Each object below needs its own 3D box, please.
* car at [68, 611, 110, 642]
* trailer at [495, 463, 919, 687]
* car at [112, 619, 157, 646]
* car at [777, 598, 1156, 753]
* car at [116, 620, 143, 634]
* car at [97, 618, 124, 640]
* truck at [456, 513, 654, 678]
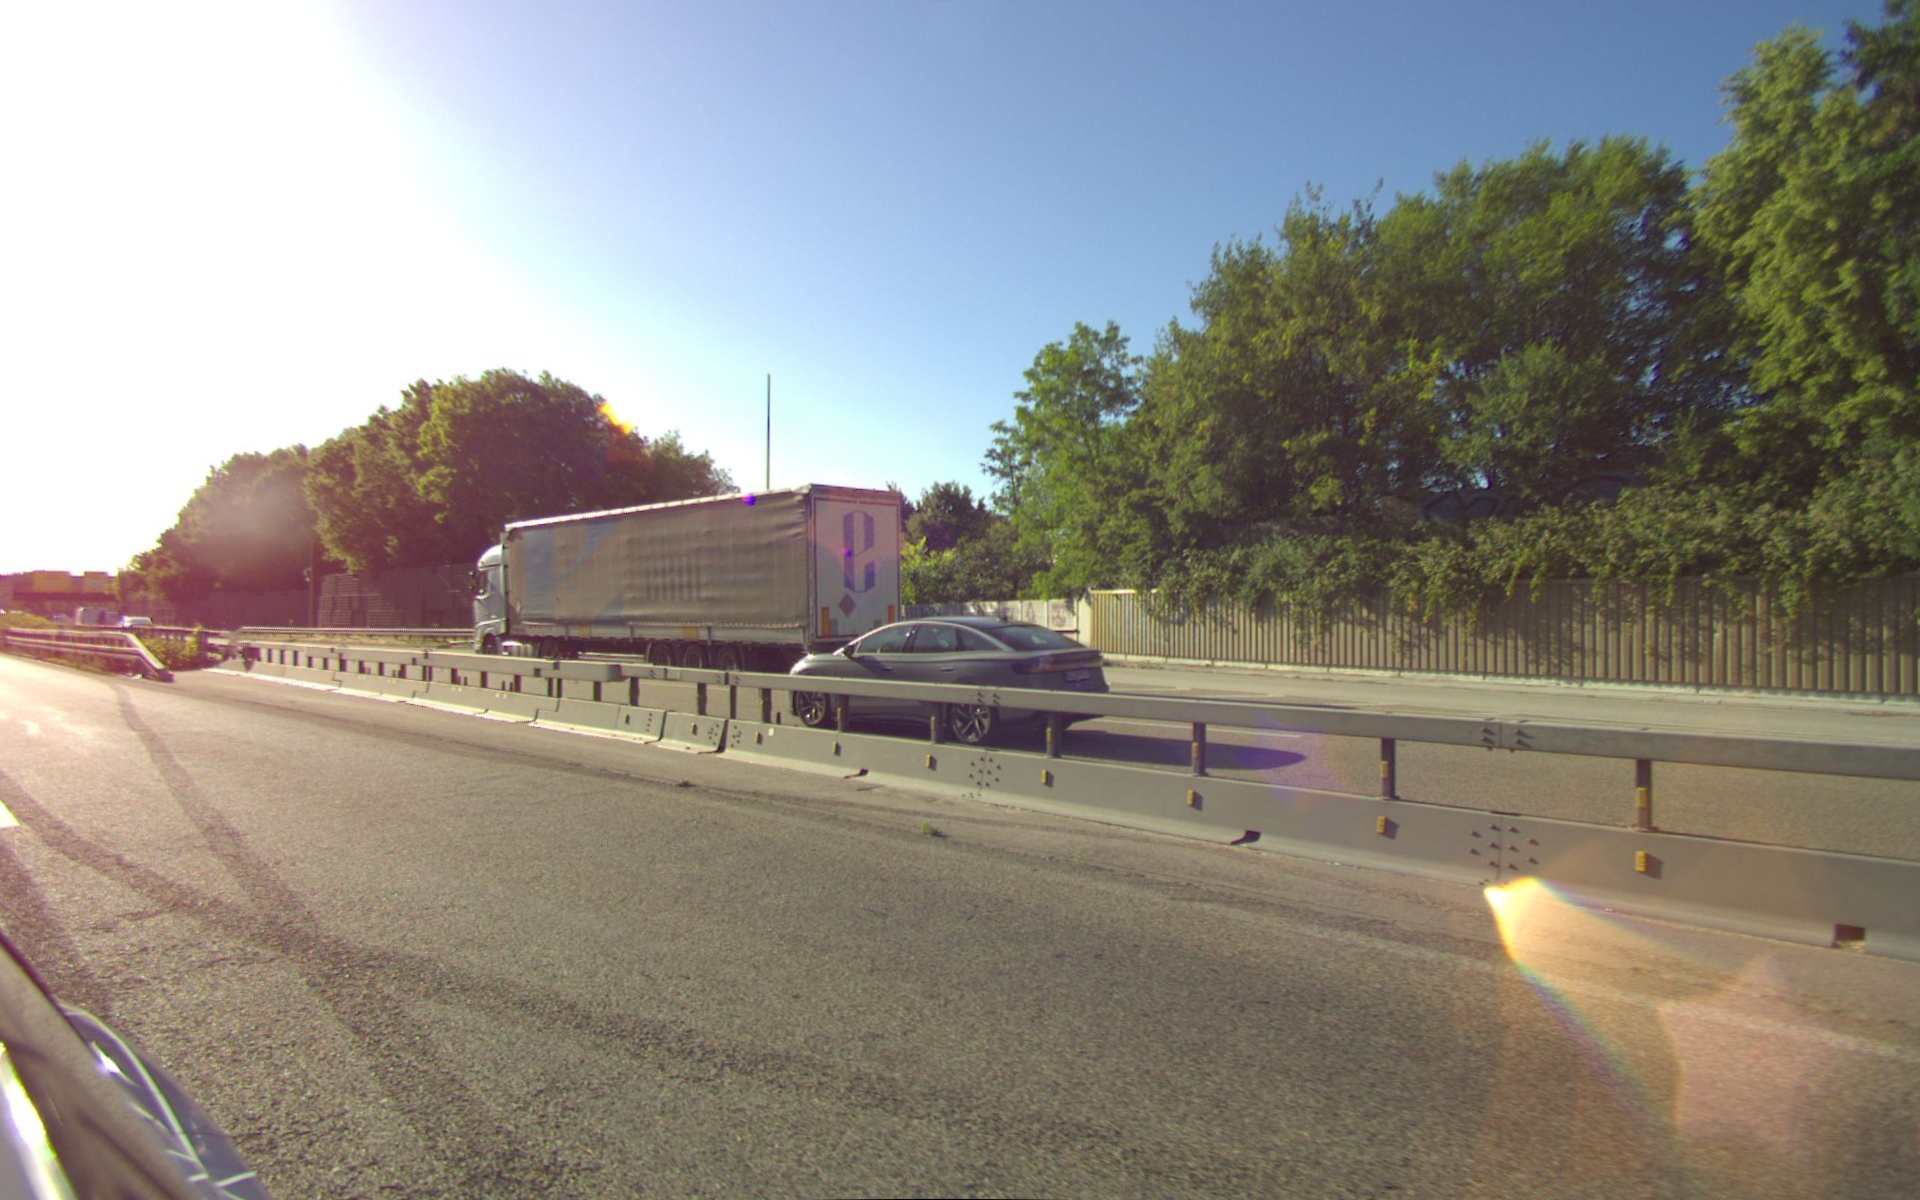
[{"bbox_3d":[-78.627,2.418,91.315,6.050,2.631,2.124,-3,-1,42],"label":"car"},{"bbox_3d":[-7.061,-0.272,25.171,14.080,4.312,2.718,-3,-1,42],"label":"trailer"},{"bbox_3d":[-59.554,2.333,72.974,4.787,1.796,1.971,-3,-1,45],"label":"car"},{"bbox_3d":[-0.091,0.907,13.438,4.936,1.670,1.972,-3,-1,42],"label":"car"},{"bbox_3d":[-83.433,2.703,101.680,1.972,1.344,4.102,-1,-1,-41],"label":"car"},{"bbox_3d":[-97.019,3.311,115.558,2.051,2.298,5.380,-1,-1,-42],"label":"car"},{"bbox_3d":[-11.923,-0.036,29.520,6.385,4.294,2.707,-3,-1,42],"label":"truck"}]
